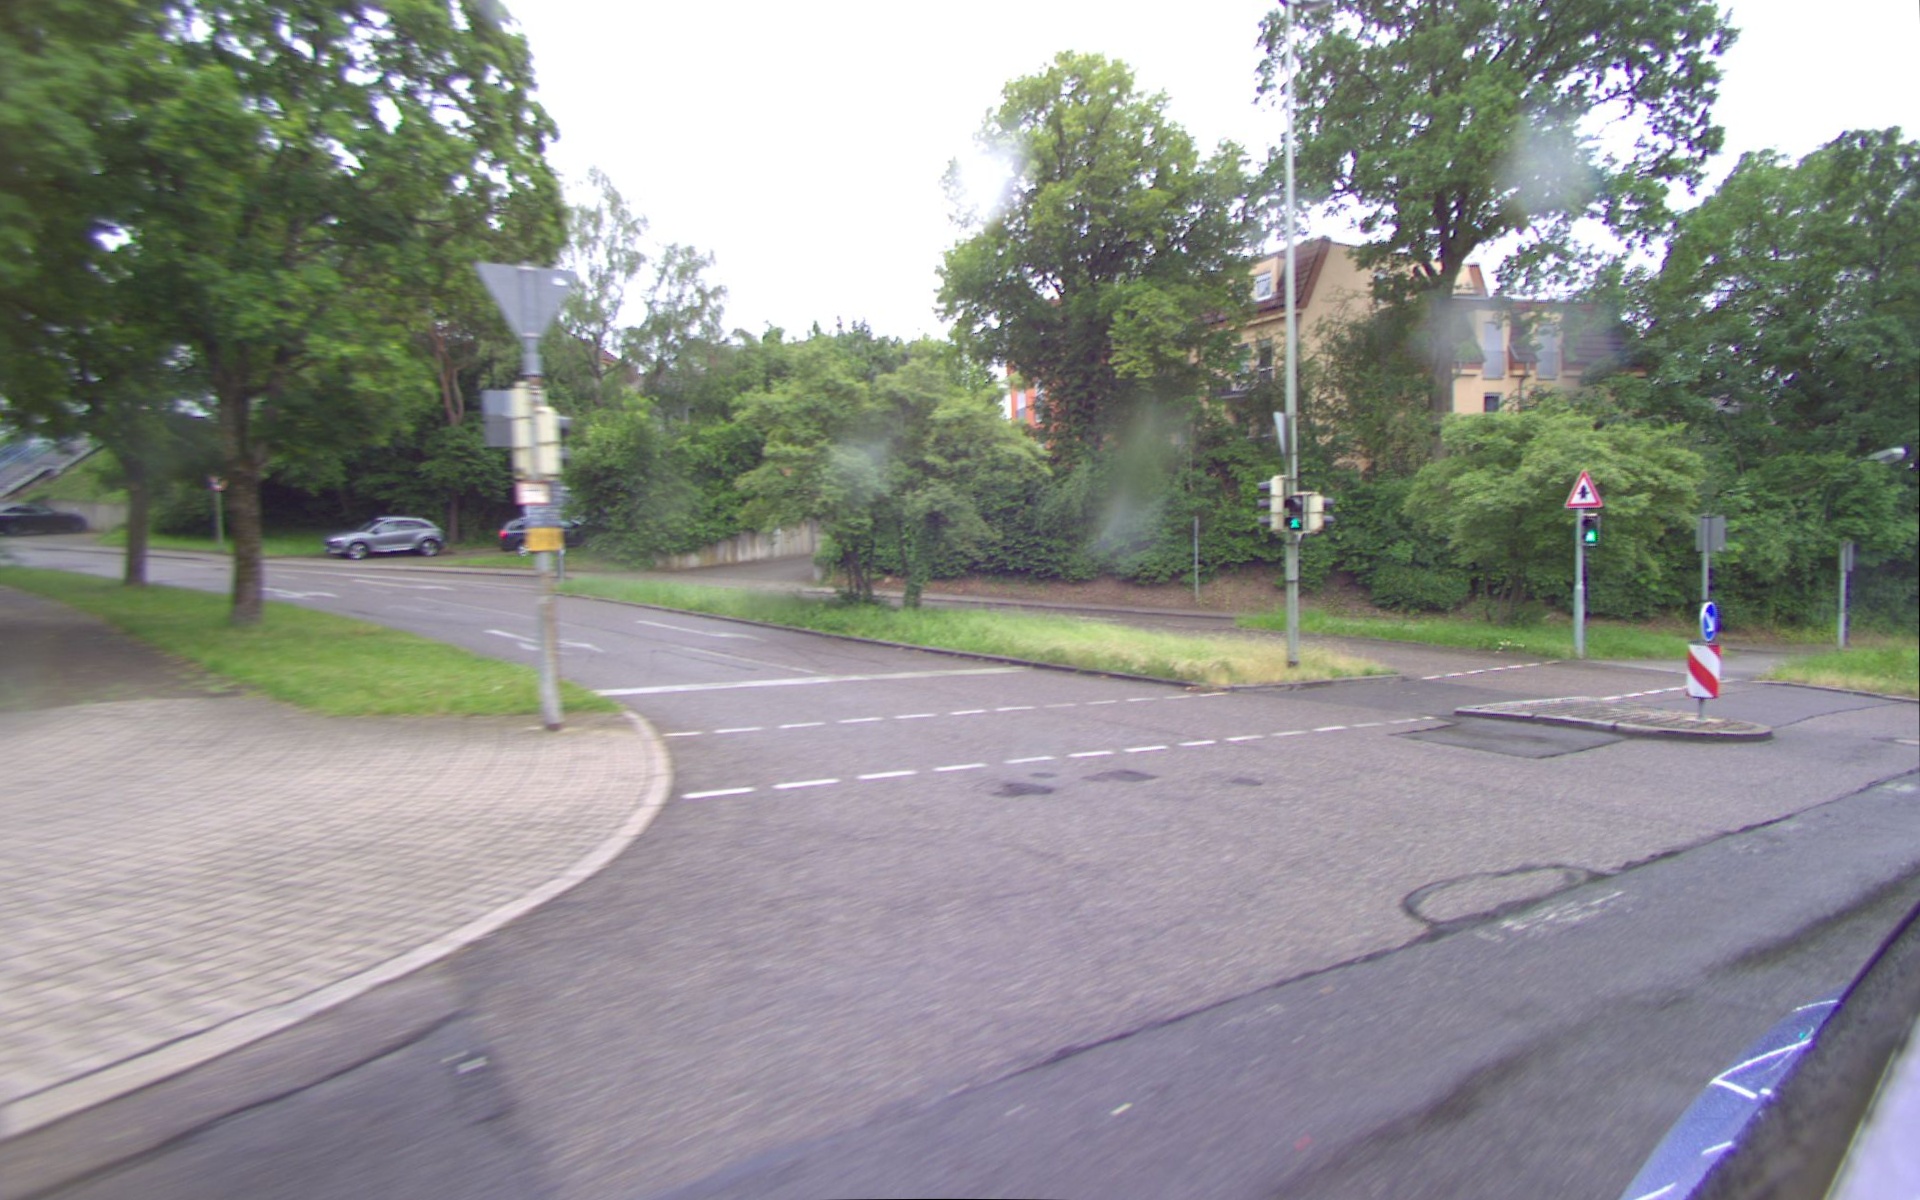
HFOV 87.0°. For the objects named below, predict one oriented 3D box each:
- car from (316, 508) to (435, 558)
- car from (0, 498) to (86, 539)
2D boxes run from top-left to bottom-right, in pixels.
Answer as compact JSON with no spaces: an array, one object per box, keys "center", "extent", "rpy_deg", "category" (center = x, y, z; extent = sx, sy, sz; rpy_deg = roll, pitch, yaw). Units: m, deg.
[{"center":[-24.751,-2.827,42.926],"extent":[1.951,1.922,3.939],"rpy_deg":[4,3,42],"category":"car"},{"center":[-41.559,-3.623,44.811],"extent":[1.926,1.668,3.989],"rpy_deg":[3,2,10],"category":"car"}]
